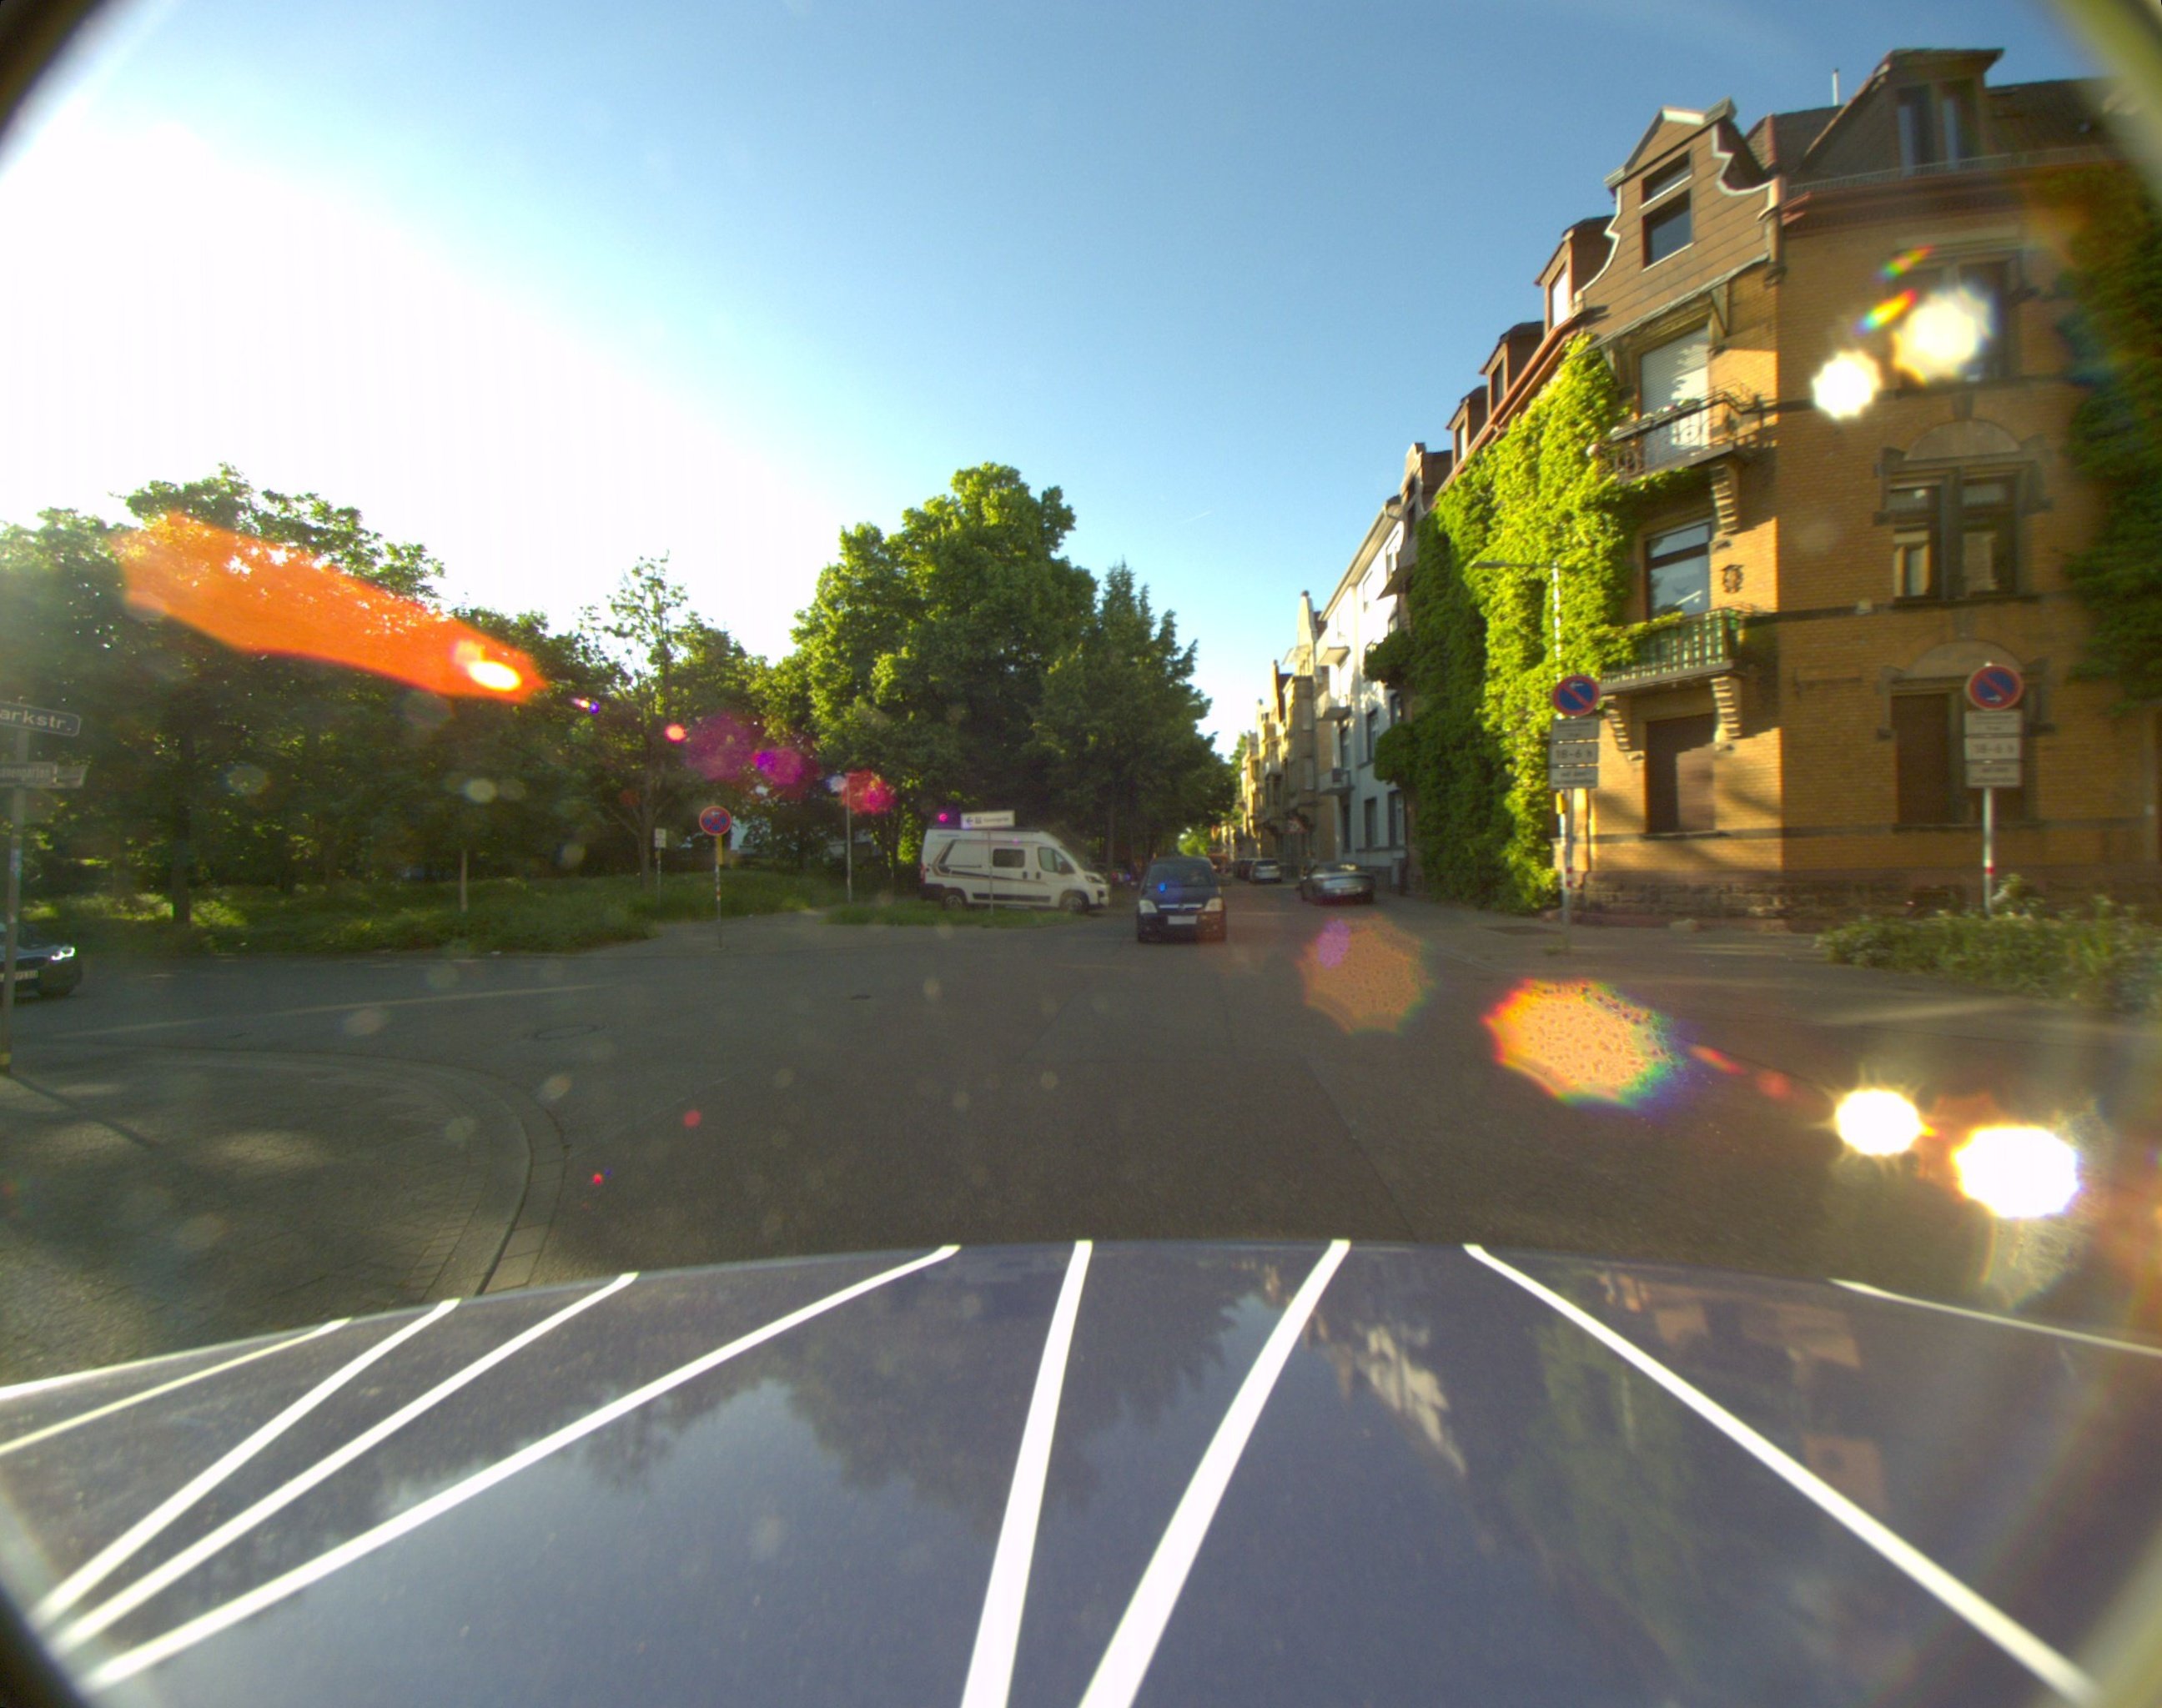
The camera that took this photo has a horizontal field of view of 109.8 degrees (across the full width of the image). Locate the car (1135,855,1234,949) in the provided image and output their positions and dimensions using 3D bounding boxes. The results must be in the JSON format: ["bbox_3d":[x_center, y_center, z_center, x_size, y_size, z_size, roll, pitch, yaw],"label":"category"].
[{"bbox_3d":[2.019,0.860,15.232,1.648,1.581,4.022,-2,-1,6],"label":"car"}]

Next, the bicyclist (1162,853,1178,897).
[{"bbox_3d":[3.350,0.786,28.584,0.596,1.646,0.711,-1,1,7],"label":"bicyclist"}]

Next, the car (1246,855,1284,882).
[{"bbox_3d":[11.406,0.862,47.350,1.866,1.537,3.794,-1,1,7],"label":"car"}]

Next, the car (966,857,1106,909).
[{"bbox_3d":[-1.415,0.945,25.051,4.294,1.566,1.979,-1,1,6],"label":"car"}]

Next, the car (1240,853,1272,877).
[{"bbox_3d":[12.784,0.747,55.777,1.997,1.616,4.146,-1,1,9],"label":"car"}]

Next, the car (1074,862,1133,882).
[{"bbox_3d":[1.538,1.228,51.301,3.876,1.249,1.786,-1,1,6],"label":"car"}]

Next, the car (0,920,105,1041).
[{"bbox_3d":[-17.779,1.907,11.503,4.610,1.612,1.892,-1,1,13],"label":"car"}]

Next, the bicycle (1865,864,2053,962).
[{"bbox_3d":[11.832,0.775,10.293,1.599,1.261,0.565,-1,0,17],"label":"bicycle"}]

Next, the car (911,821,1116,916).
[{"bbox_3d":[-1.879,0.401,22.420,5.624,2.599,2.240,-1,1,6],"label":"car"}]

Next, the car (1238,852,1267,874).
[{"bbox_3d":[13.855,0.689,61.620,1.997,1.616,4.146,-1,1,9],"label":"car"}]

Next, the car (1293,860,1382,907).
[{"bbox_3d":[8.671,0.933,26.127,1.880,1.396,4.929,-3,-1,7],"label":"car"}]
